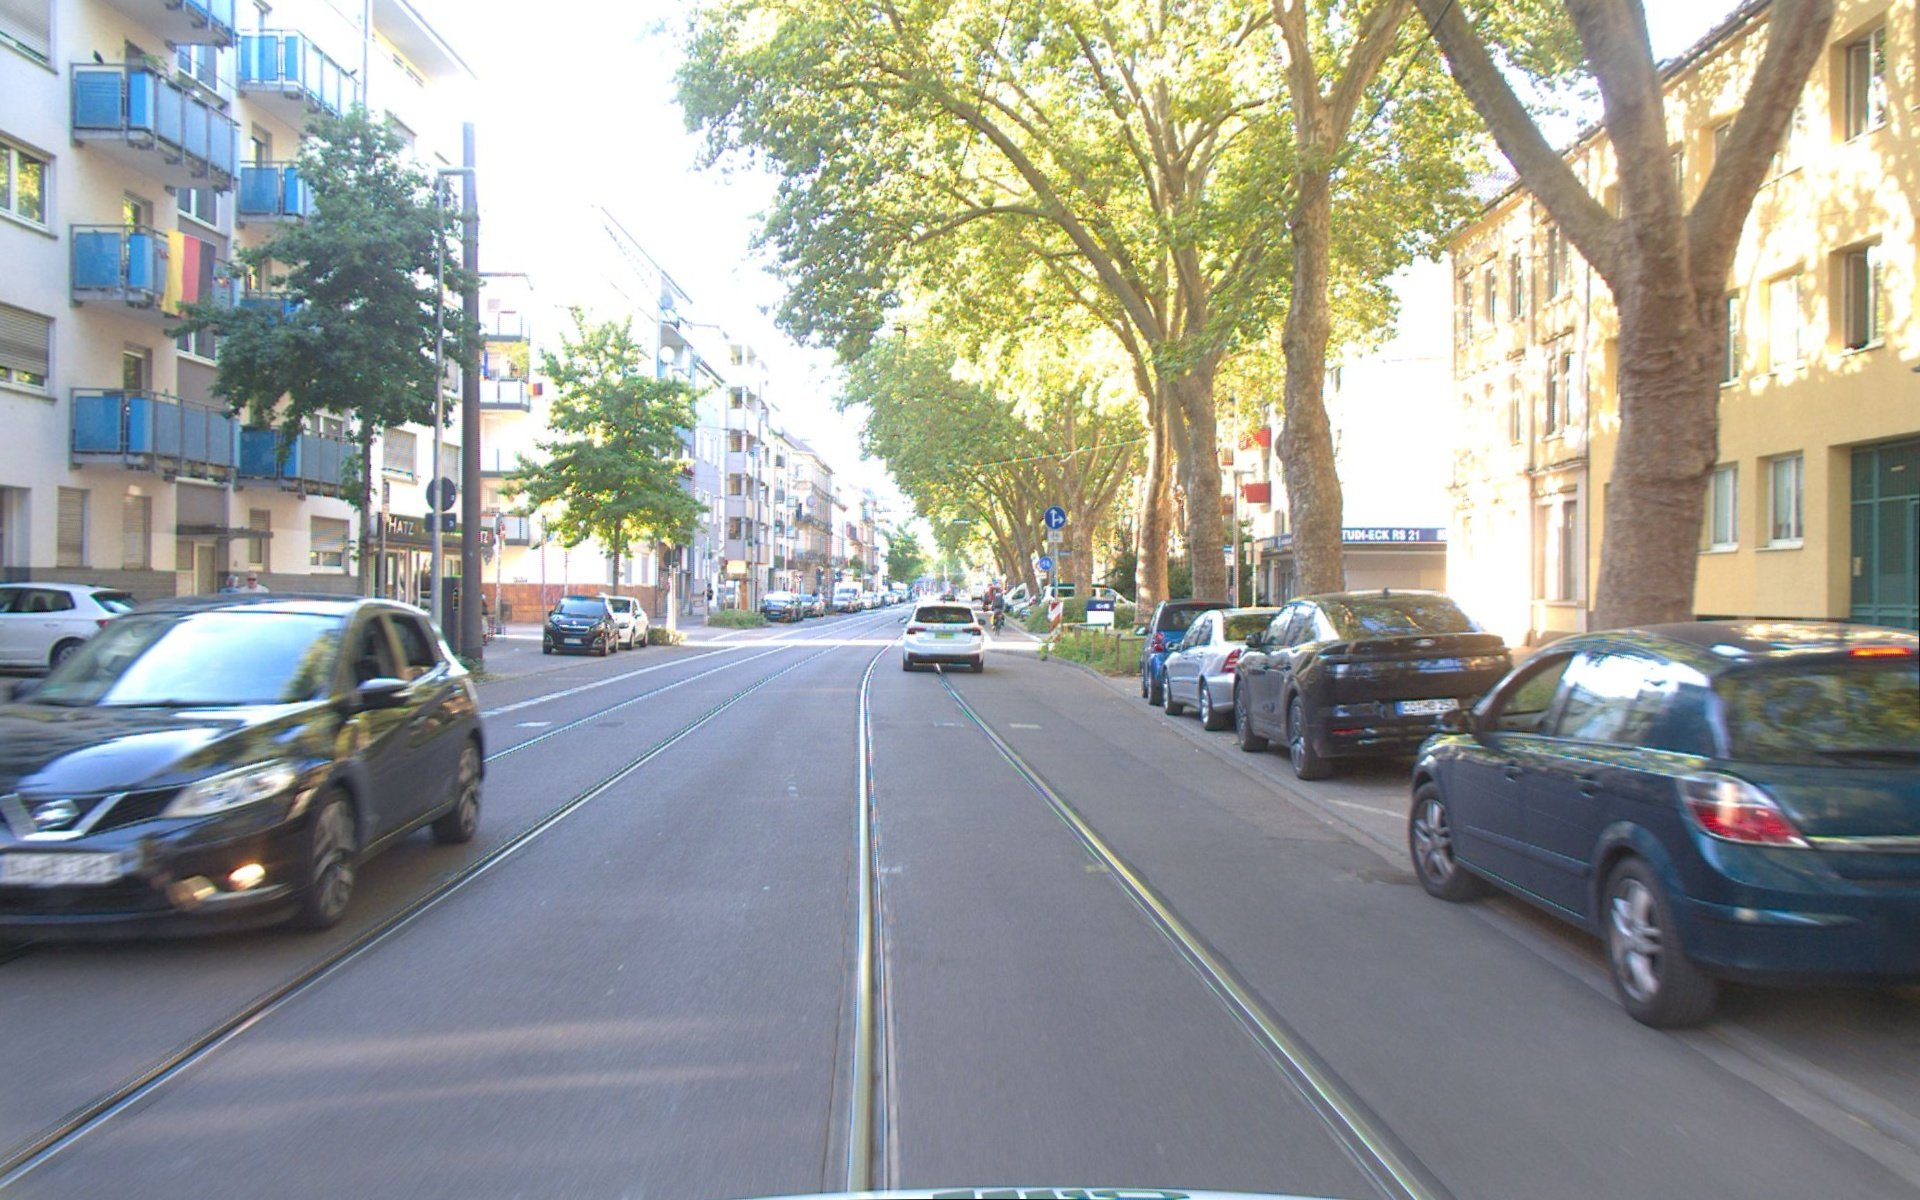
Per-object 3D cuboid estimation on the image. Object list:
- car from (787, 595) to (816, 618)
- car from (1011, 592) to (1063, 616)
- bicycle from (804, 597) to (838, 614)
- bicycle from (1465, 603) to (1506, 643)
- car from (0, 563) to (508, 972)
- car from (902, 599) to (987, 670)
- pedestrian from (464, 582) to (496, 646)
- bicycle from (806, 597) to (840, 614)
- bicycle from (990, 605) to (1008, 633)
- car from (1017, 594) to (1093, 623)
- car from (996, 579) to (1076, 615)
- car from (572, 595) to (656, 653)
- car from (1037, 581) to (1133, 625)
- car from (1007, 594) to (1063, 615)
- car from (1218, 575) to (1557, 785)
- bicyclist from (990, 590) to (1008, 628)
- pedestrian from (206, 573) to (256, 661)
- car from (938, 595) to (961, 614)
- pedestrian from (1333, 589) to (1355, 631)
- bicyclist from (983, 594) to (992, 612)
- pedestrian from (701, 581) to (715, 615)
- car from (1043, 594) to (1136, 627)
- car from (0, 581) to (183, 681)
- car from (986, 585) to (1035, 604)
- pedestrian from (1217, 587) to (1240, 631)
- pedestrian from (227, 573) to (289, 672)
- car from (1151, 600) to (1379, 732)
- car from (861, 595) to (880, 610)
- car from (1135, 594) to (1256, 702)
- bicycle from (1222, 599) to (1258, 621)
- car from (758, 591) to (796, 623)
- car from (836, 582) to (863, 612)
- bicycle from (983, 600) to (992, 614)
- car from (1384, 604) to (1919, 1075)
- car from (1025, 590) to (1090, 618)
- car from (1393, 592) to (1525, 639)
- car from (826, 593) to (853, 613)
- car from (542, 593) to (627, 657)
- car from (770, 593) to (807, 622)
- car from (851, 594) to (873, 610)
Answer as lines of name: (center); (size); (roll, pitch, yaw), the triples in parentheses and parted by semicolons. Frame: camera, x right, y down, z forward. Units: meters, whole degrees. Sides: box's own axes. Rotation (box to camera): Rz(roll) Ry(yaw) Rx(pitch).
car: (-10.315, 0.402, 107.965); (1.620, 1.462, 3.835); (0, 0, -2)
car: (5.329, 0.267, 114.932); (3.558, 1.695, 1.823); (0, 0, 2)
bicycle: (-10.492, 0.447, 124.968); (2.509, 1.193, 0.870); (3, -2, -40)
bicycle: (15.539, 0.664, 48.938); (0.570, 1.123, 1.922); (-2, 0, -1)
car: (-3.718, 0.647, 8.650); (1.834, 1.617, 4.143); (-1, 1, -4)
car: (-0.356, 0.692, 35.407); (1.726, 1.408, 3.999); (0, 0, -1)
pedestrian: (-13.024, 0.388, 44.915); (0.650, 1.720, 0.748); (0, 0, -2)
bicycle: (-10.431, 0.450, 125.851); (2.476, 1.193, 0.718); (2, -2, -7)
bicycle: (1.524, 0.729, 64.081); (0.667, 1.089, 1.781); (0, 0, 1)
car: (5.240, 0.455, 91.404); (4.058, 1.540, 1.931); (0, 0, -1)
car: (5.827, -0.227, 127.188); (6.006, 2.681, 2.528); (0, 0, -2)
car: (-9.905, 0.656, 47.641); (1.679, 1.489, 4.373); (3, 0, -4)
car: (6.023, 0.150, 80.196); (4.452, 2.113, 2.000); (0, 0, -3)
car: (5.592, 0.326, 124.354); (3.971, 1.567, 1.998); (0, 0, -6)
car: (3.790, 0.663, 15.610); (1.820, 1.631, 4.780); (-1, -1, -2)
bicyclist: (1.521, 0.341, 64.165); (0.664, 1.468, 1.047); (0, 0, 1)
pedestrian: (-14.421, 0.337, 32.736); (0.650, 1.720, 0.748); (0, 0, -2)
car: (-0.837, 0.356, 132.287); (1.725, 1.501, 4.000); (0, 0, 0)
pedestrian: (15.221, 0.394, 65.523); (0.731, 1.673, 0.666); (0, 0, 1)
bicyclist: (2.138, 0.220, 127.507); (0.636, 1.367, 0.934); (0, 0, -2)
pedestrian: (-13.778, -0.121, 90.542); (0.650, 1.858, 0.965); (0, 0, -2)
car: (6.036, 0.486, 77.617); (4.210, 1.505, 1.830); (0, 0, -1)
car: (-14.765, 0.460, 26.263); (3.932, 1.501, 1.850); (1, 0, -3)
car: (6.234, -0.670, 205.886); (6.006, 2.322, 2.528); (0, 0, -2)
pedestrian: (11.706, 0.371, 72.135); (0.751, 1.899, 1.188); (0, 0, -4)
pedestrian: (-12.354, 0.394, 29.114); (0.748, 1.720, 0.794); (0, 0, -2)
car: (3.730, 0.773, 21.063); (1.780, 1.461, 4.599); (-1, -1, -3)
car: (-9.895, 0.271, 183.017); (1.953, 1.557, 4.000); (0, 0, 0)
car: (3.594, 0.721, 25.600); (1.531, 1.545, 2.911); (-1, -1, 2)
bicycle: (14.839, 0.526, 87.629); (1.756, 1.060, 0.617); (-2, 0, -4)
car: (-10.148, 0.358, 92.051); (1.668, 1.679, 4.240); (3, 0, -2)
car: (-9.923, -0.292, 148.727); (2.134, 2.642, 4.948); (0, 0, 0)
bicycle: (2.144, 0.552, 127.494); (0.636, 1.089, 1.582); (0, 0, -2)
car: (3.387, 0.776, 7.457); (1.826, 1.462, 4.226); (-1, 0, 0)
car: (6.010, 0.269, 102.322); (3.906, 1.709, 1.723); (0, 0, -1)
car: (17.685, 0.542, 58.721); (4.051, 1.621, 1.998); (0, 0, -5)
car: (-9.980, 0.240, 137.002); (1.953, 1.557, 4.000); (0, 0, 0)
car: (-9.705, 0.615, 42.984); (1.681, 1.489, 3.994); (3, 0, -7)
car: (-10.076, 0.421, 97.178); (1.667, 1.571, 4.241); (3, 0, 0)
car: (-9.999, 0.196, 169.054); (1.953, 1.557, 4.000); (0, 0, 0)
